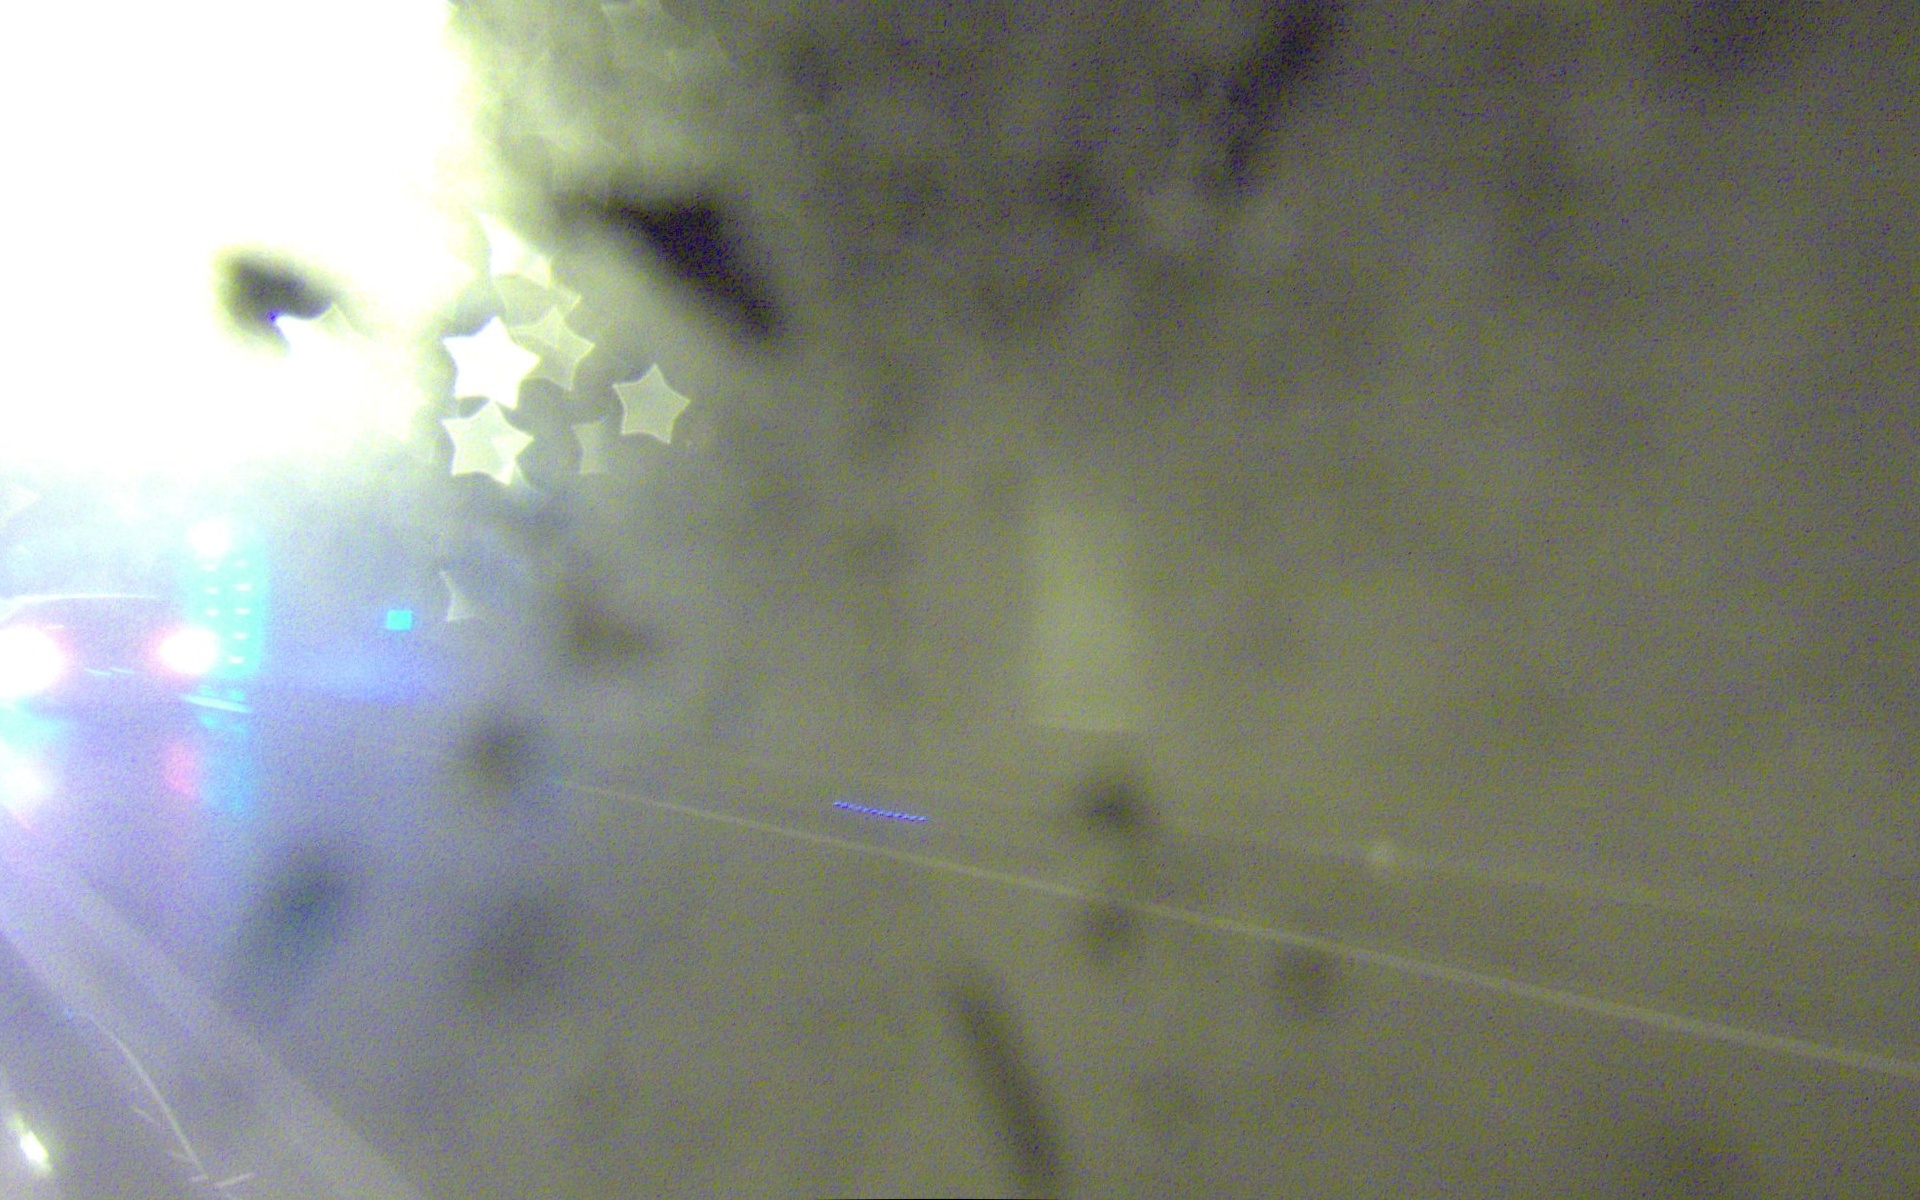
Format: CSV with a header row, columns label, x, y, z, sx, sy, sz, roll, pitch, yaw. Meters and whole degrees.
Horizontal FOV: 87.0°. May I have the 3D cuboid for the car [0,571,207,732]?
label,x,y,z,sx,sy,sz,roll,pitch,yaw
car,-13.048,0.682,15.082,4.558,2.029,2.063,-1,-1,42
